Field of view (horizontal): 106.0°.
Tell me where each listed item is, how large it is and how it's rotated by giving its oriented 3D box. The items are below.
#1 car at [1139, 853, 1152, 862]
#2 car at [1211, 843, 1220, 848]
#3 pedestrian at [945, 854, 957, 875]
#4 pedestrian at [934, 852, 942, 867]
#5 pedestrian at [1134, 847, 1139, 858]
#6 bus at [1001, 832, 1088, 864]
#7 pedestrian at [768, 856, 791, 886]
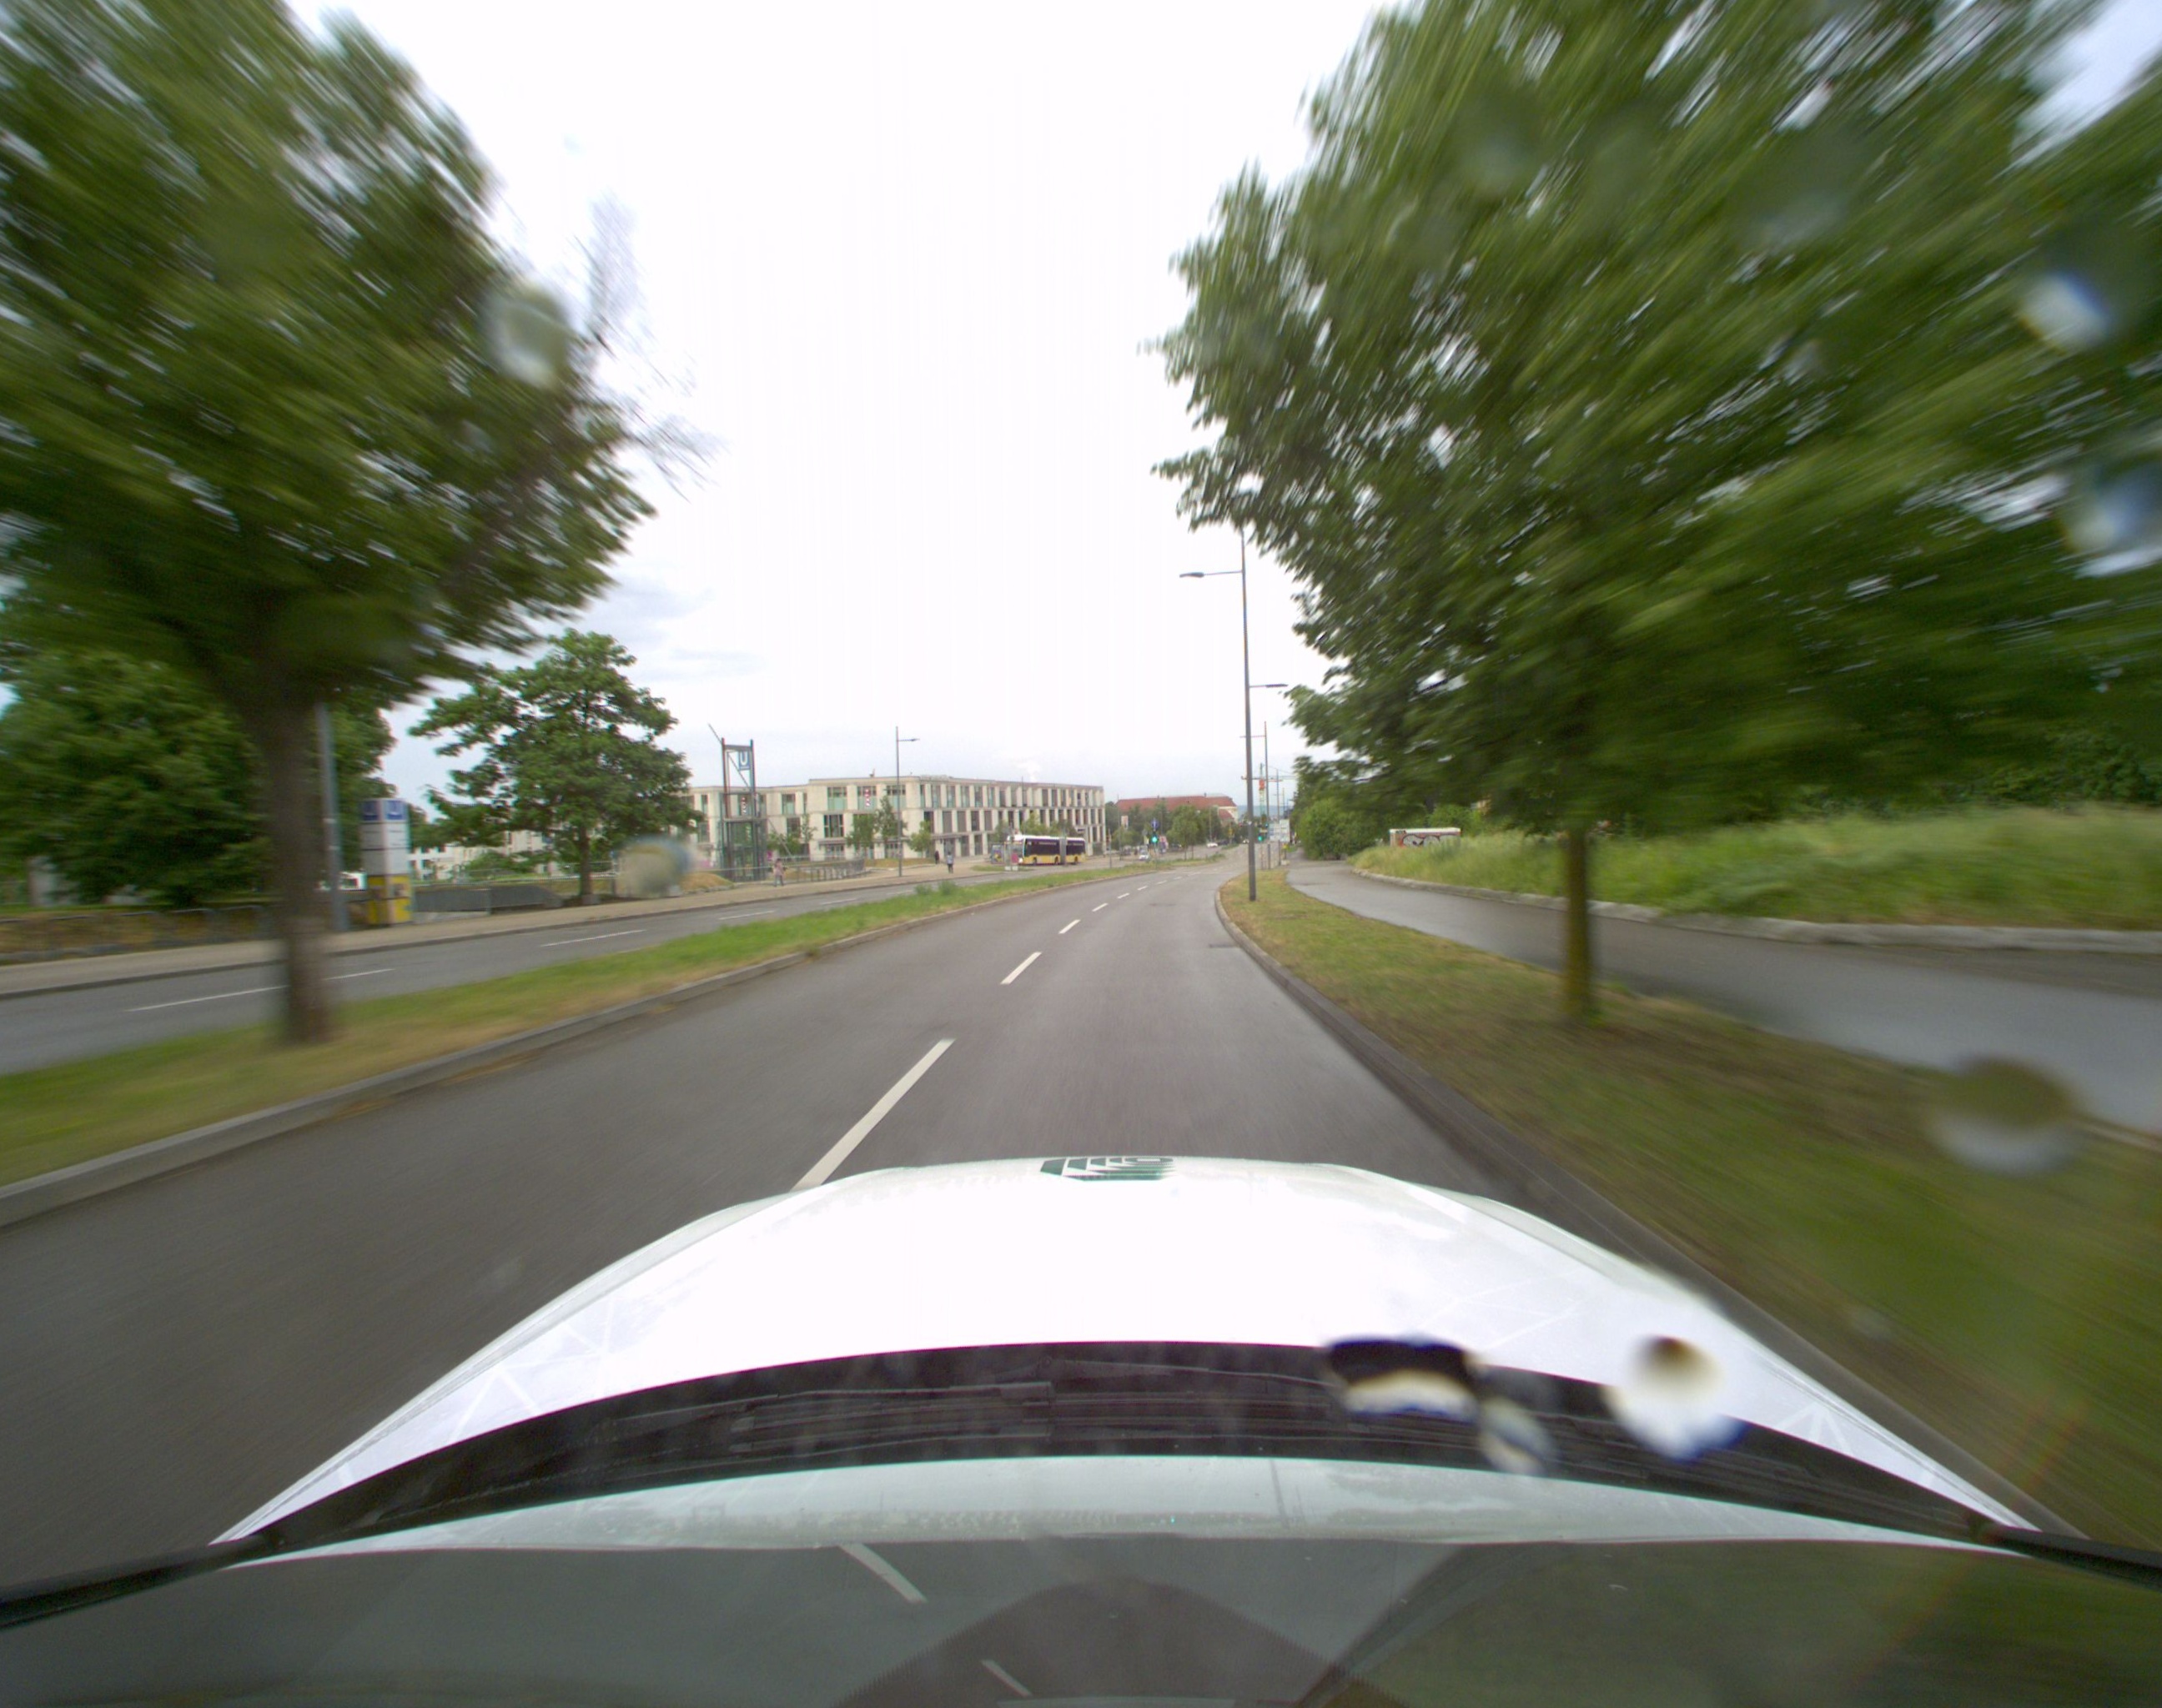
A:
[{"bbox_3d":[10.826,0.557,136.516,1.466,1.494,2.543,-2,-1,20],"label":"car"},{"bbox_3d":[36.906,-2.311,222.727,1.755,1.494,4.087,-2,-1,19],"label":"car"},{"bbox_3d":[-9.921,0.805,62.056,0.834,1.573,0.717,-1,-1,-10],"label":"pedestrian"},{"bbox_3d":[-15.061,0.610,85.899,0.681,1.524,0.718,-1,-1,-4],"label":"pedestrian"},{"bbox_3d":[10.444,-0.234,152.963,0.747,1.947,0.837,-1,-1,-3],"label":"pedestrian"},{"bbox_3d":[-3.926,-0.549,96.446,2.760,3.357,18.323,-2,-1,22],"label":"bus"},{"bbox_3d":[-16.550,0.935,44.749,0.809,1.621,0.937,-2,-1,7],"label":"pedestrian"}]
